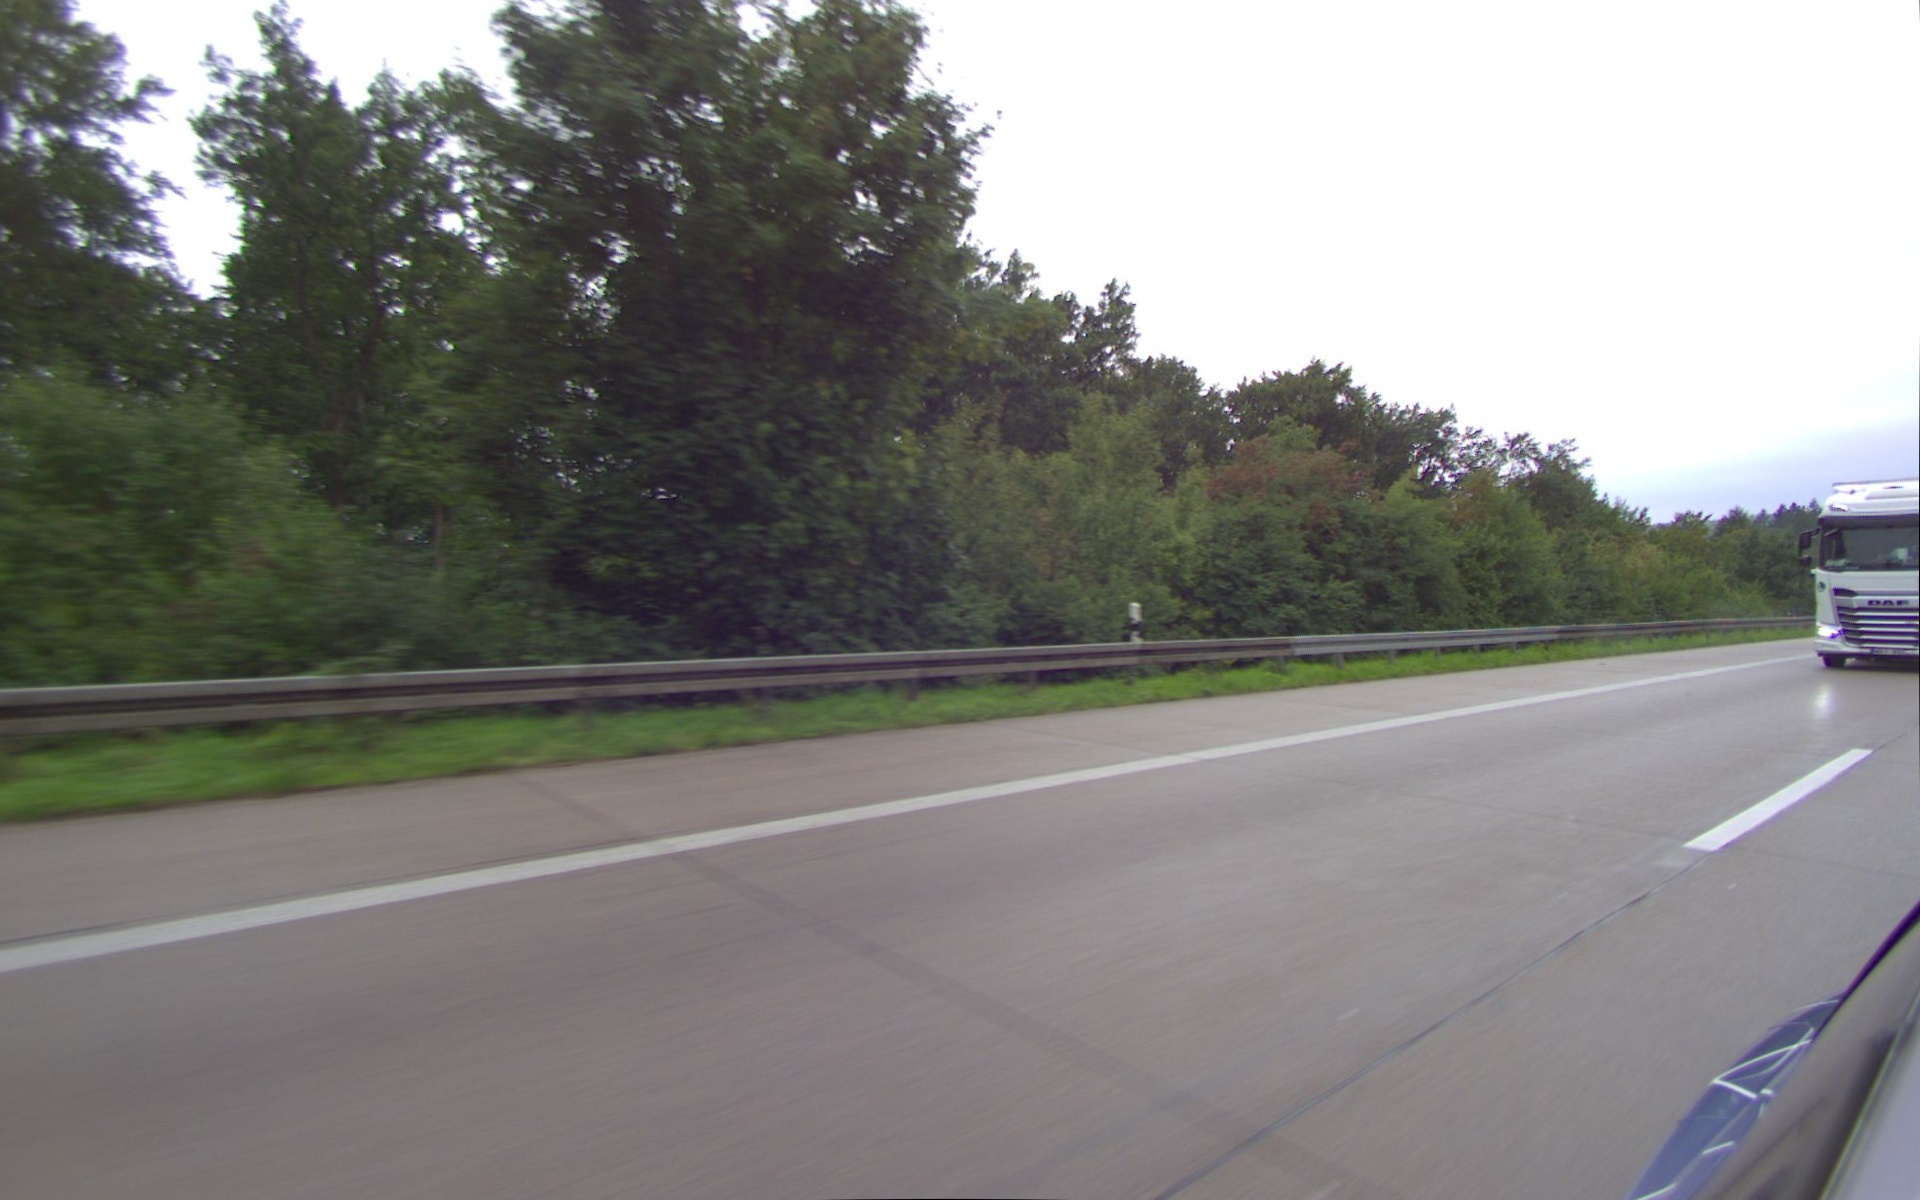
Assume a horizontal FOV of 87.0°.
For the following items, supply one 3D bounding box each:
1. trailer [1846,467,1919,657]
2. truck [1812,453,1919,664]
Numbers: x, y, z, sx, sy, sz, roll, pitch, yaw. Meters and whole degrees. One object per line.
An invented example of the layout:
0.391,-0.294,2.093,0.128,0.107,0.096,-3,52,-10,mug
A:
25.926,-0.855,25.972,13.460,4.092,2.685,0,1,-40,trailer
20.637,-0.824,21.642,5.650,4.092,2.727,0,0,-40,truck
